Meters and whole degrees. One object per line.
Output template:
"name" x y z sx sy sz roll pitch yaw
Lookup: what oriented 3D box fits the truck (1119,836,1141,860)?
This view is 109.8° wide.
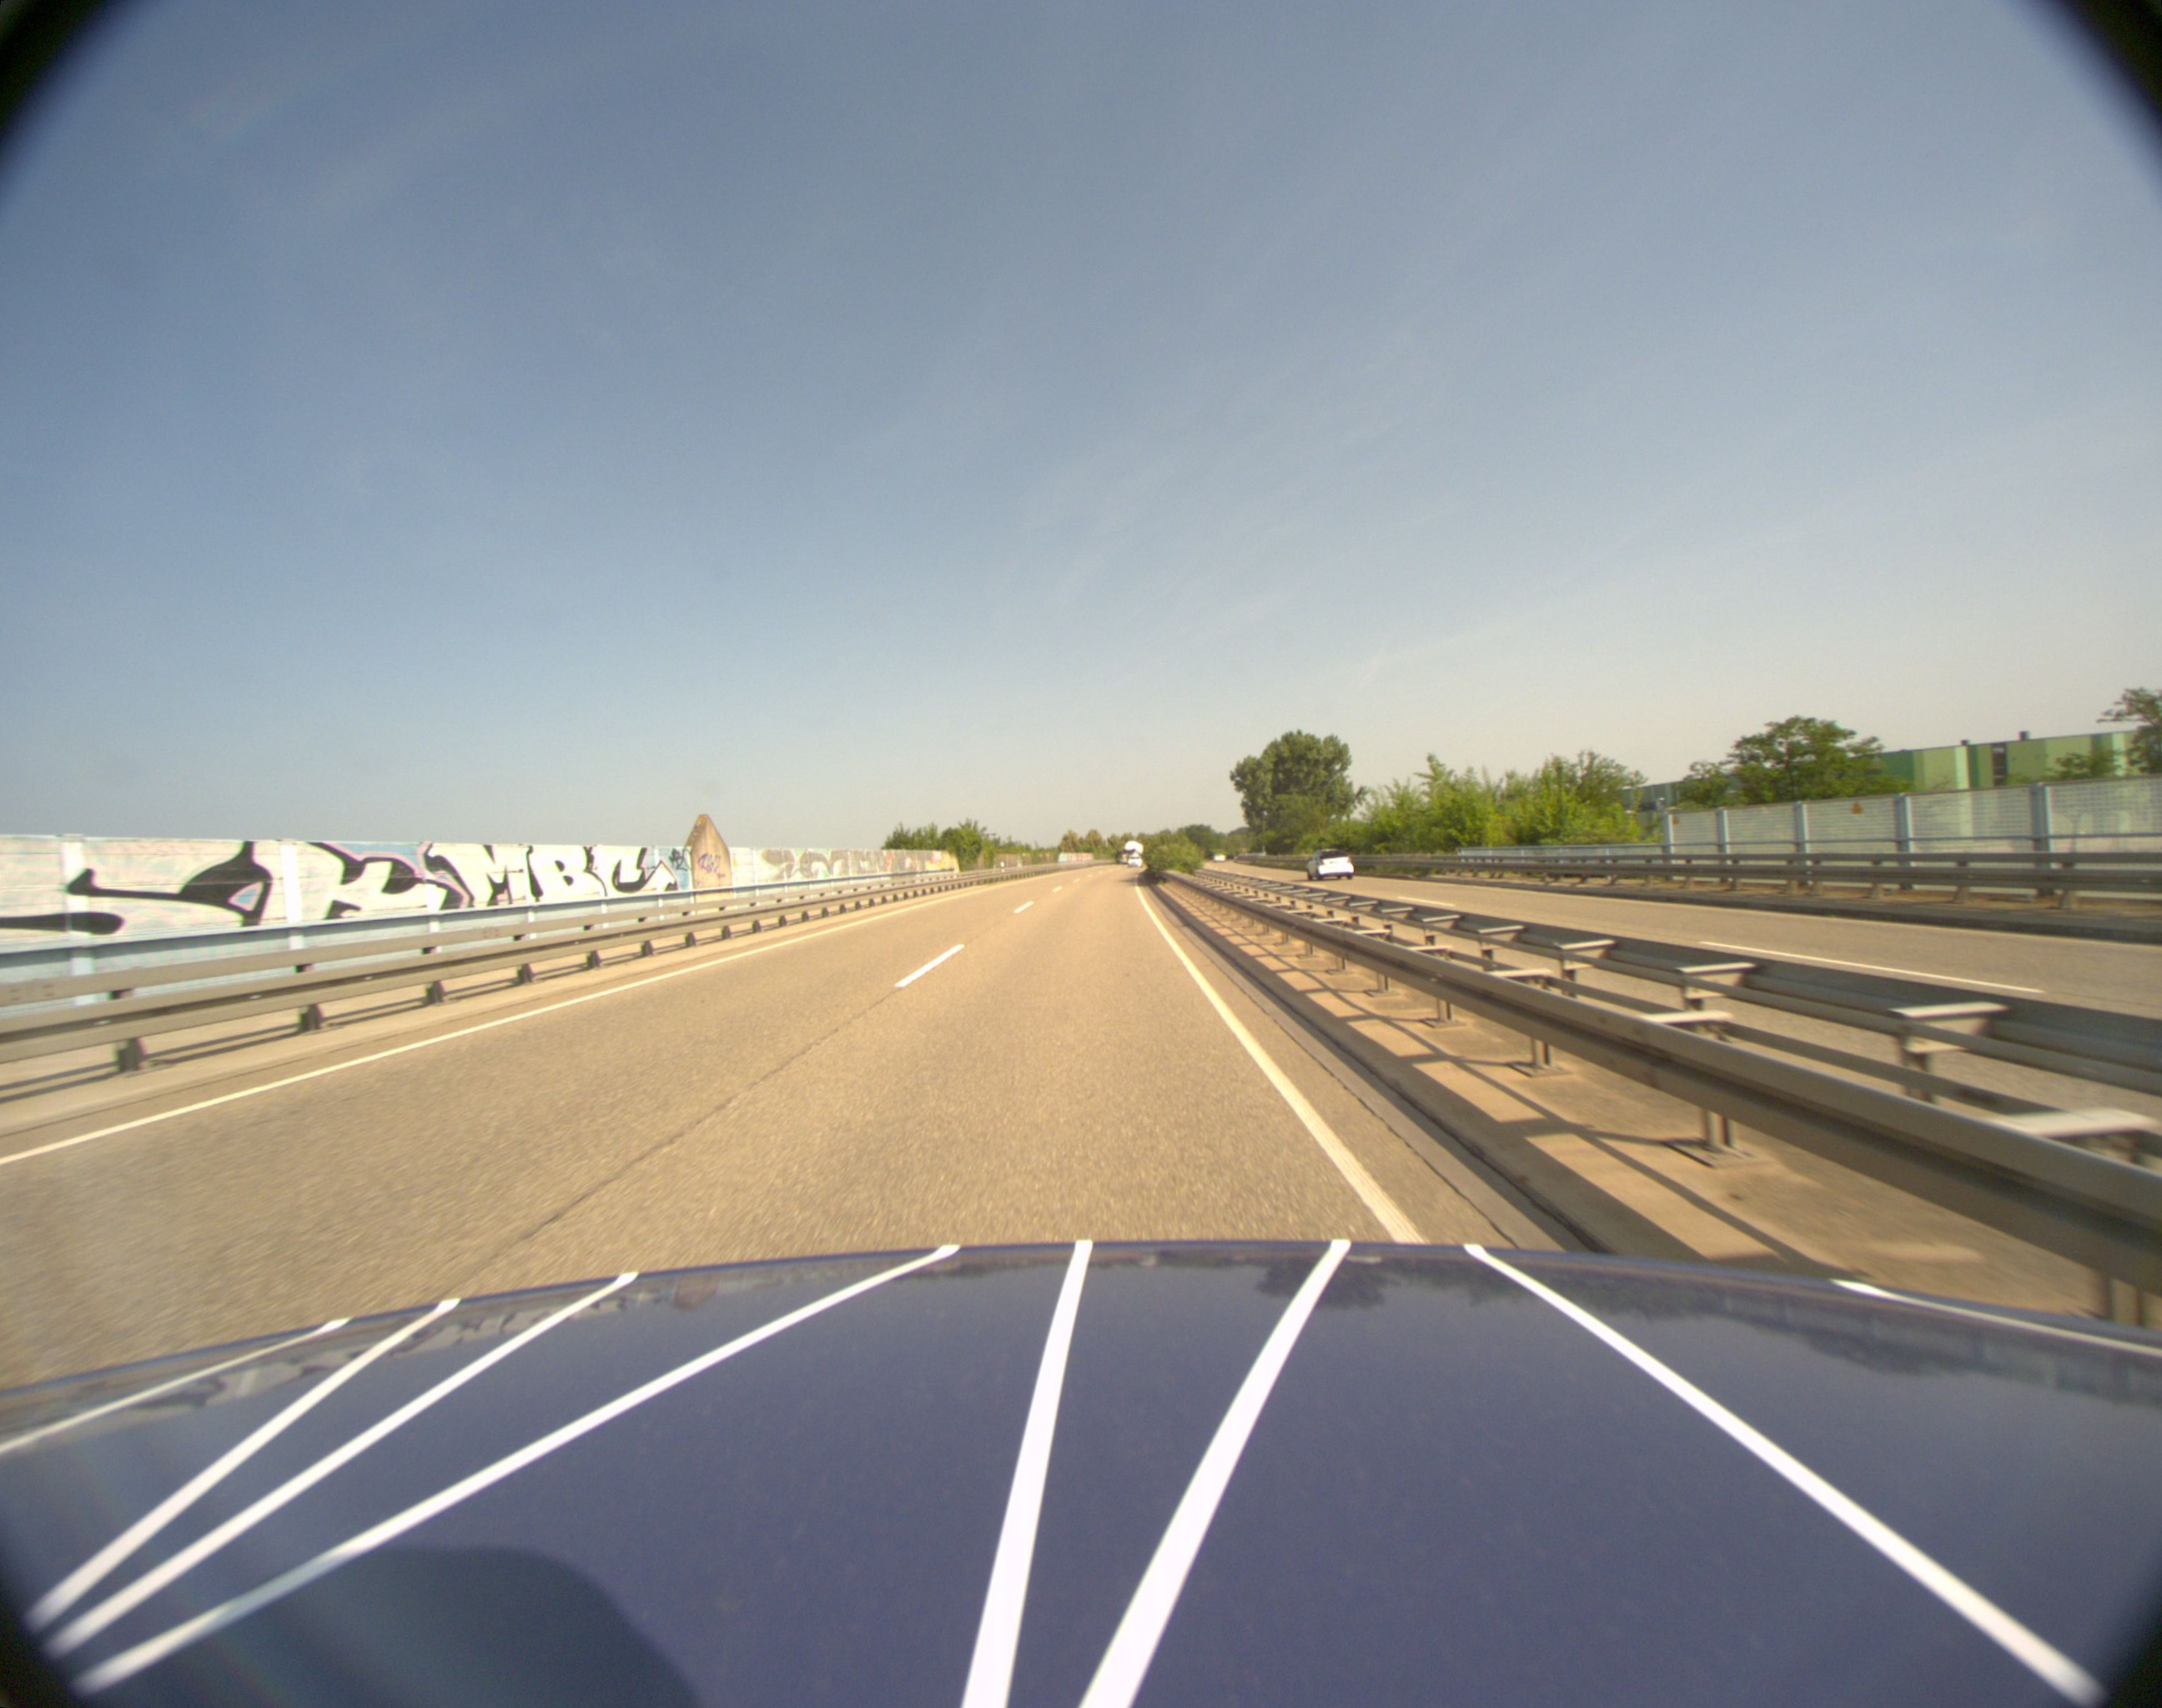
"truck" 8.416 -1.030 130.627 2.776 3.939 5.632 -2 1 13

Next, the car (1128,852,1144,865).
"car" 7.011 0.581 96.063 1.788 1.427 4.002 -3 0 7

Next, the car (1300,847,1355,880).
"car" 12.323 0.436 38.236 1.651 1.494 4.001 -3 0 4

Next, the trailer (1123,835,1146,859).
"trailer" 9.664 -1.315 136.087 2.761 3.968 8.193 -2 1 13

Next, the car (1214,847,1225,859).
"car" 23.748 -0.160 130.207 1.647 2.002 3.600 -3 1 9
